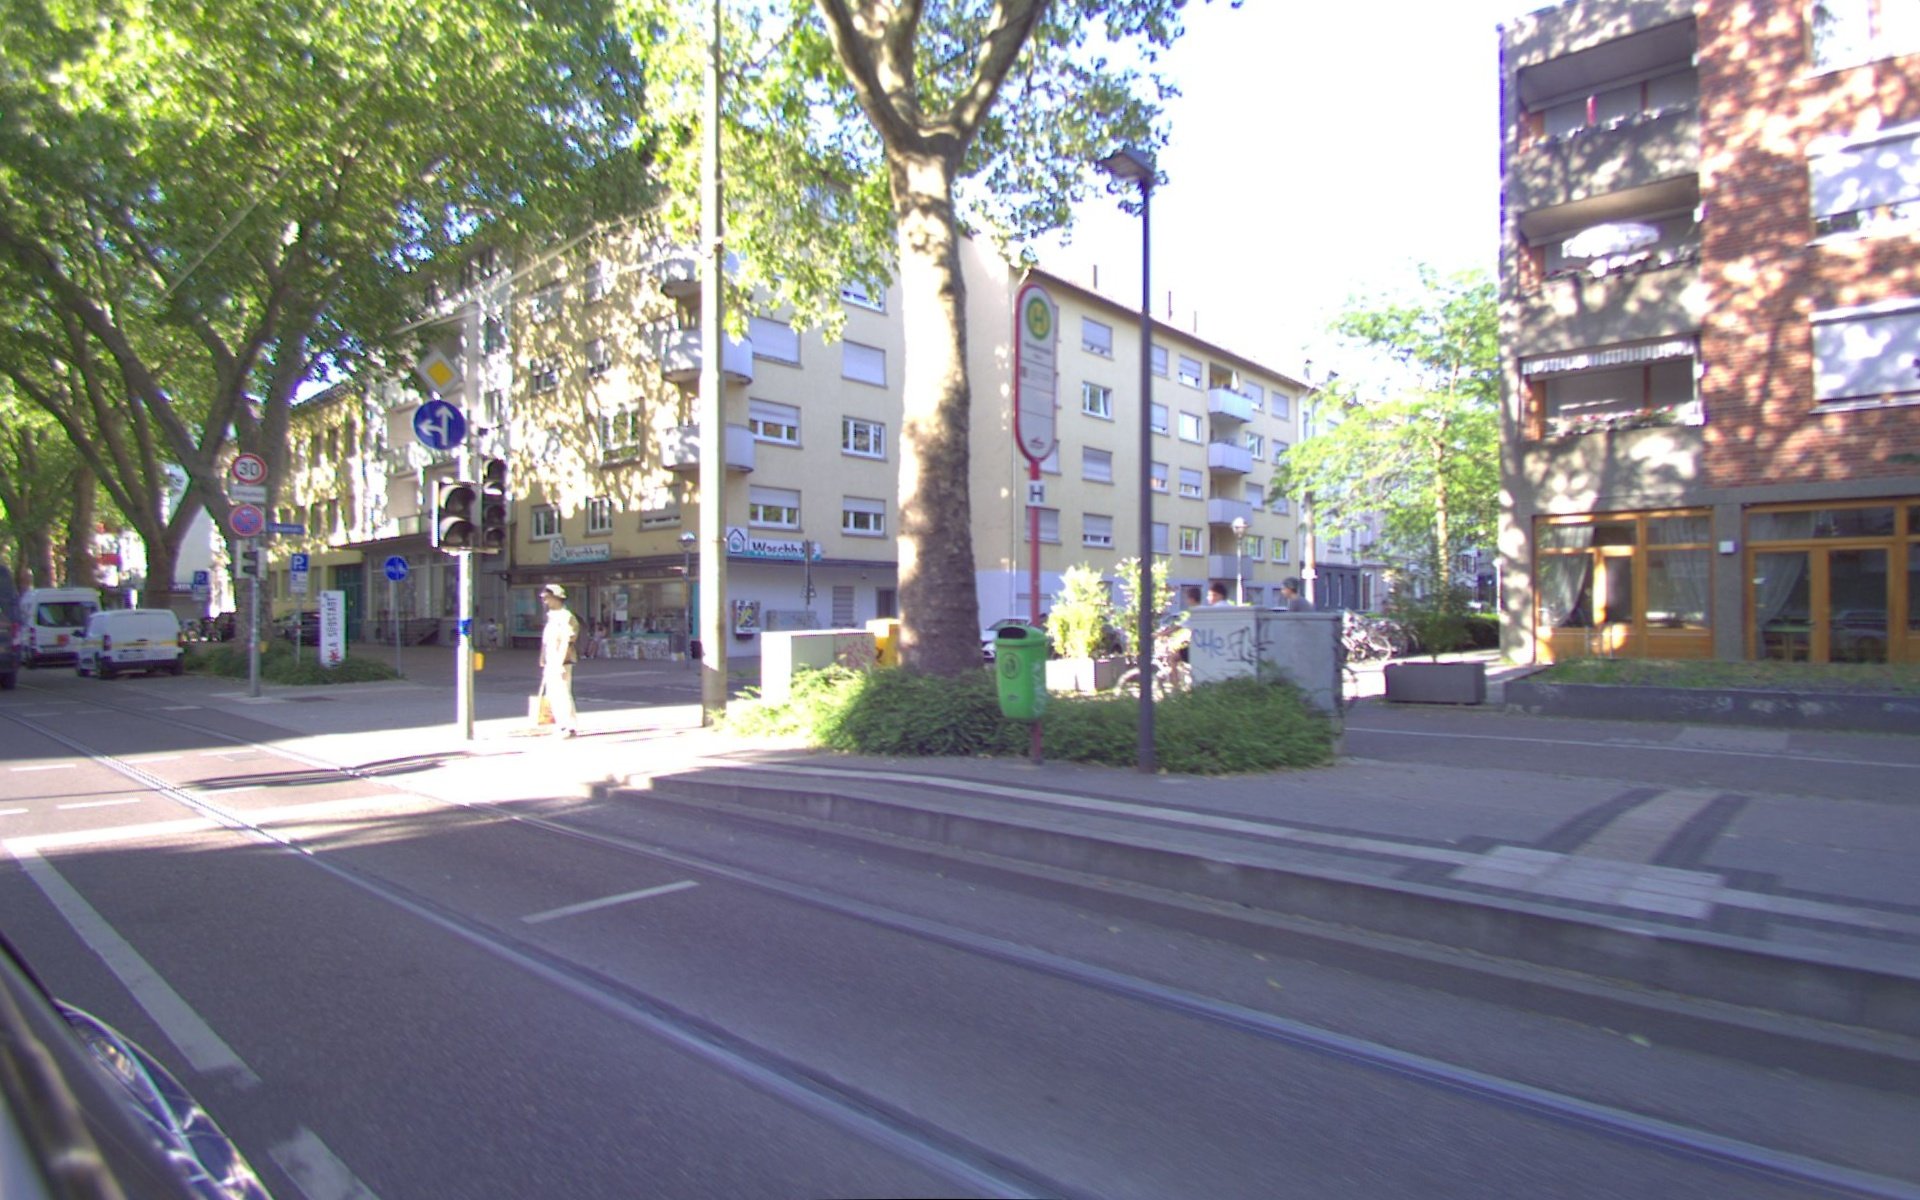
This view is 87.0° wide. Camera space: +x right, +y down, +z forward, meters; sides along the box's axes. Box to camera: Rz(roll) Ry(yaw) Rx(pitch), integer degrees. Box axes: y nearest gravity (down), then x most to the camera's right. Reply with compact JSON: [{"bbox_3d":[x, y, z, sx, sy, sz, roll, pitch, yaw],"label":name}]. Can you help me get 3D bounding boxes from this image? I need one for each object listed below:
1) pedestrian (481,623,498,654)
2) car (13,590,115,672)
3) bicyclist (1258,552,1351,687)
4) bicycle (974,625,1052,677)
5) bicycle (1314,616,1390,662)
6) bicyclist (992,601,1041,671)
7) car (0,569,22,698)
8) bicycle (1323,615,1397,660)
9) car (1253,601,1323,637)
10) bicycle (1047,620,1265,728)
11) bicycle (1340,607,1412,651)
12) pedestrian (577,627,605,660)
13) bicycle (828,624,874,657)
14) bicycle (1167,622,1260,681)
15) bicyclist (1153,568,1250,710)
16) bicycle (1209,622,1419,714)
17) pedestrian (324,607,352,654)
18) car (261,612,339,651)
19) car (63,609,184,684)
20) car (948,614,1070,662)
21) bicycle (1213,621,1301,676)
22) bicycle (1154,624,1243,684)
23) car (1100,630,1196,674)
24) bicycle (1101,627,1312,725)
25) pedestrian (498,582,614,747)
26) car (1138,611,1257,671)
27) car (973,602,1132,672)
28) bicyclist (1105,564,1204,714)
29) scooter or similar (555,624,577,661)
[{"bbox_3d":[-17.624,1.442,37.910,0.436,1.114,0.417,-1,0,31],"label":"pedestrian"},{"bbox_3d":[-30.895,0.996,34.814,6.024,2.597,2.085,-1,0,43],"label":"car"},{"bbox_3d":[4.707,0.257,13.823,0.996,1.763,0.767,-1,0,38],"label":"bicyclist"},{"bbox_3d":[1.251,1.152,23.405,0.681,1.078,2.186,-1,0,38],"label":"bicycle"},{"bbox_3d":[9.562,0.935,24.730,1.637,1.092,0.536,-1,0,40],"label":"bicycle"},{"bbox_3d":[1.305,0.817,23.482,0.681,1.559,0.981,-1,0,39],"label":"bicyclist"},{"bbox_3d":[-23.300,0.718,22.970,6.109,2.759,2.092,-1,-2,39],"label":"car"},{"bbox_3d":[9.992,0.921,25.307,1.637,1.092,0.536,-1,0,40],"label":"bicycle"},{"bbox_3d":[16.370,0.920,50.412,1.998,1.696,3.947,-1,0,40],"label":"car"},{"bbox_3d":[2.389,0.867,12.611,2.593,1.200,0.775,-1,0,39],"label":"bicycle"},{"bbox_3d":[10.780,0.737,26.273,1.637,1.092,0.536,-1,0,40],"label":"bicycle"},{"bbox_3d":[-12.007,1.412,32.908,0.710,1.055,0.572,-1,0,40],"label":"pedestrian"},{"bbox_3d":[-3.766,1.396,35.094,0.543,1.092,1.616,-3,-2,42],"label":"bicycle"},{"bbox_3d":[4.953,1.022,19.833,1.637,1.092,0.536,-4,-2,40],"label":"bicycle"},{"bbox_3d":[3.152,0.488,13.211,0.996,1.763,0.767,-1,0,39],"label":"bicyclist"},{"bbox_3d":[4.765,0.871,13.785,2.593,1.119,0.775,-1,0,39],"label":"bicycle"},{"bbox_3d":[-25.693,1.244,41.790,0.863,1.883,0.737,-1,0,39],"label":"pedestrian"},{"bbox_3d":[-31.983,1.473,49.000,4.896,1.746,1.972,-1,0,42],"label":"car"},{"bbox_3d":[-22.731,1.194,27.463,4.314,1.864,1.745,-1,0,39],"label":"car"},{"bbox_3d":[1.645,1.182,32.940,1.998,1.386,3.947,-1,0,40],"label":"car"},{"bbox_3d":[6.156,1.010,21.007,1.637,1.092,0.536,-3,-2,40],"label":"bicycle"},{"bbox_3d":[4.553,1.038,19.358,1.536,1.092,0.536,-4,-3,40],"label":"bicycle"},{"bbox_3d":[7.397,1.984,39.589,1.998,1.469,3.947,-1,0,40],"label":"car"},{"bbox_3d":[3.161,0.937,13.190,2.593,1.119,0.775,-1,0,39],"label":"bicycle"},{"bbox_3d":[-4.763,0.721,11.937,0.919,1.849,0.915,-1,0,37],"label":"pedestrian"},{"bbox_3d":[7.221,1.172,30.520,1.959,1.674,3.947,-1,-1,40],"label":"car"},{"bbox_3d":[2.327,0.846,24.687,1.998,1.519,3.947,-1,0,40],"label":"car"},{"bbox_3d":[2.421,0.468,12.593,0.950,1.776,0.775,-1,0,38],"label":"bicyclist"},{"bbox_3d":[-12.837,1.386,32.984,0.633,1.176,0.677,-1,0,-23],"label":"scooter or similar"}]
